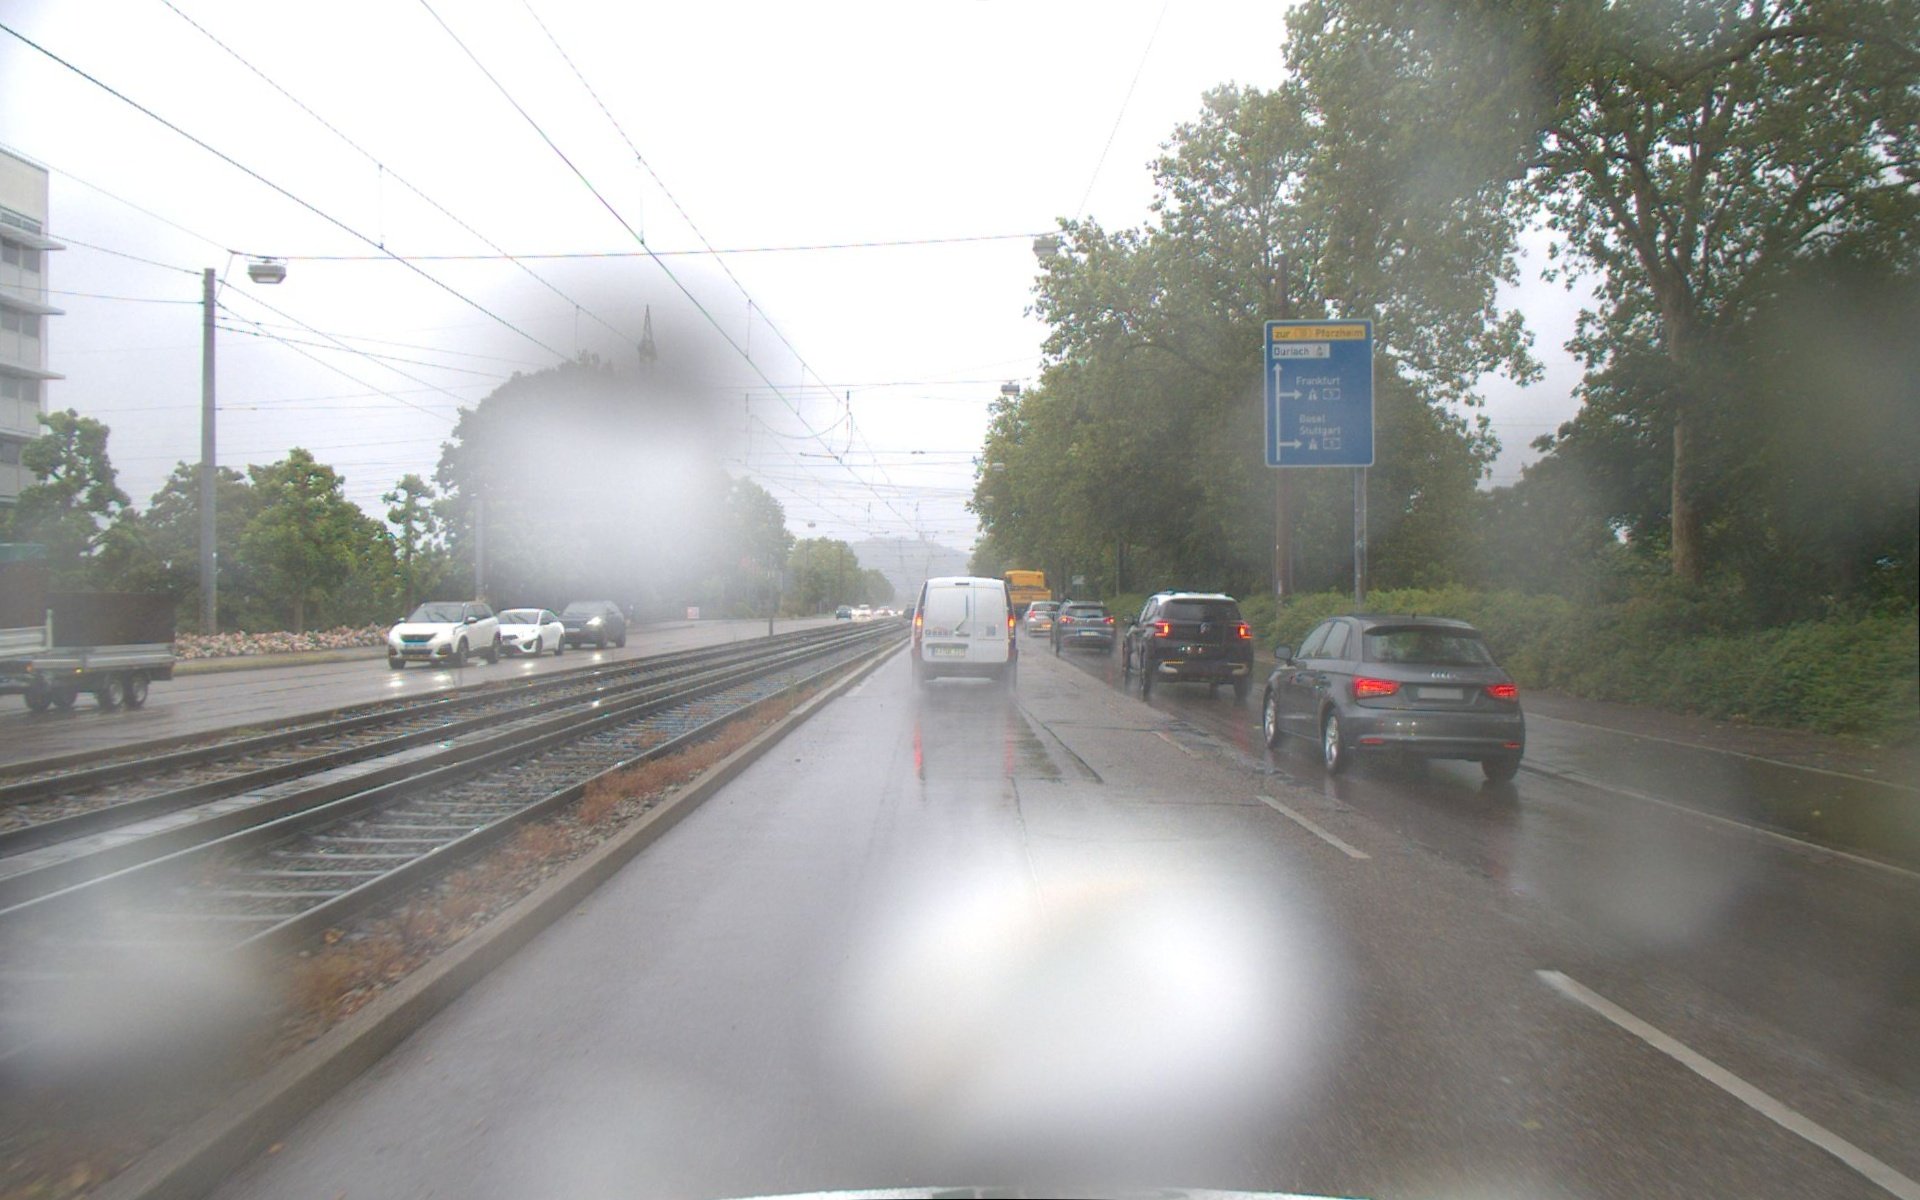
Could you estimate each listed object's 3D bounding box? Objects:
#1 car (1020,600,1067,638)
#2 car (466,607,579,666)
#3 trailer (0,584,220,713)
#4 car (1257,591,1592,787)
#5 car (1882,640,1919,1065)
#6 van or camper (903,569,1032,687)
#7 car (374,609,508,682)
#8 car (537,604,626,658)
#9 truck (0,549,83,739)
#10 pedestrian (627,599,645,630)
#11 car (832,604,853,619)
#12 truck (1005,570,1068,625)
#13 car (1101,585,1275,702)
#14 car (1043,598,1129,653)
[{"bbox_3d":[3.365,0.764,67.180,1.781,1.438,3.779,1,1,1],"label":"car"},{"bbox_3d":[-13.200,1.073,50.156,1.952,1.611,4.767,-1,0,2],"label":"car"},{"bbox_3d":[-13.586,0.701,25.904,2.075,1.824,3.837,2,0,3],"label":"trailer"},{"bbox_3d":[4.161,0.717,15.522,1.928,1.555,3.990,1,1,-1],"label":"car"},{"bbox_3d":[4.197,0.874,3.942,1.755,1.438,3.852,3,-1,-1],"label":"car"},{"bbox_3d":[0.048,0.402,27.892,1.953,1.815,3.999,1,1,-2],"label":"van or camper"},{"bbox_3d":[-13.211,1.114,42.412,1.734,1.712,4.690,2,0,3],"label":"car"},{"bbox_3d":[-13.364,1.050,58.631,1.952,1.751,4.882,-1,0,0],"label":"car"},{"bbox_3d":[-13.863,0.531,20.008,2.384,2.501,7.220,2,0,2],"label":"truck"},{"bbox_3d":[-19.165,0.864,97.861,0.834,1.790,1.121,-1,0,0],"label":"pedestrian"},{"bbox_3d":[-13.318,1.332,187.678,1.952,1.646,4.254,-1,0,2],"label":"car"},{"bbox_3d":[4.020,-0.137,88.272,3.049,2.822,6.329,0,0,0],"label":"truck"},{"bbox_3d":[3.689,0.650,27.601,1.862,1.747,4.721,1,1,-5],"label":"car"},{"bbox_3d":[3.525,0.701,46.954,1.783,1.438,3.773,1,1,-6],"label":"car"}]
